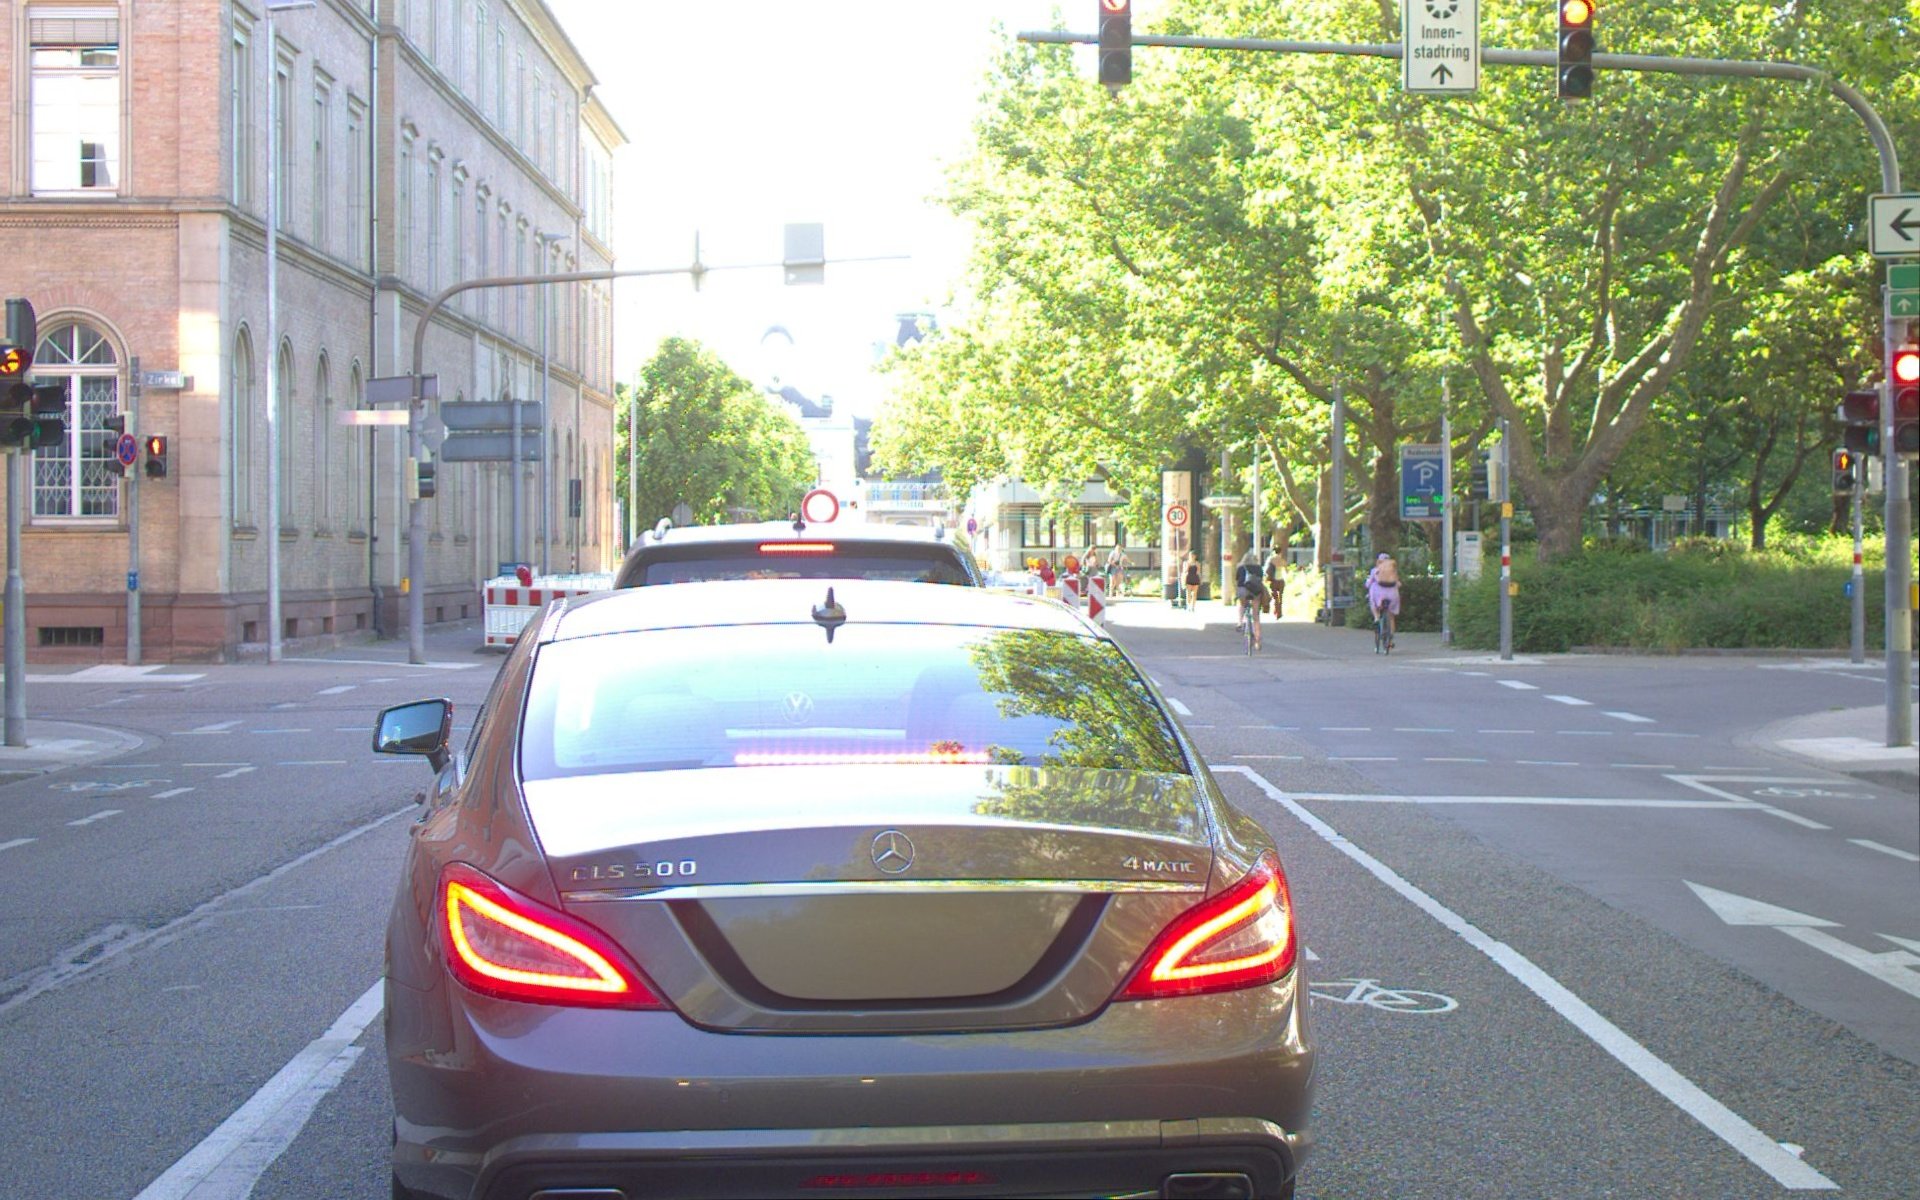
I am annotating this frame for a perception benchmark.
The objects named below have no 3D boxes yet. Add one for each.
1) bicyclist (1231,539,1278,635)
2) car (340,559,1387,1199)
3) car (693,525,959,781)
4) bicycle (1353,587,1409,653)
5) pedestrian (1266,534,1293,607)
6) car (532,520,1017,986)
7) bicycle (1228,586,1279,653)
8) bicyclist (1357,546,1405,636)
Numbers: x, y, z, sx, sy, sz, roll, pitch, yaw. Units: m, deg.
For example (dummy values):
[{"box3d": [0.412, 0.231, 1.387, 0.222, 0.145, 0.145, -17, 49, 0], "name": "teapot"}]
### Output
[{"box3d": [4.691, -0.212, 54.759, 0.610, 1.511, 0.890, 2, 1, -1], "name": "bicyclist"}, {"box3d": [-0.434, 0.646, 8.119, 1.821, 1.471, 4.354, 0, 1, -7], "name": "car"}, {"box3d": [-0.915, 0.312, 23.712, 1.681, 1.619, 3.841, 0, 1, -2], "name": "car"}, {"box3d": [6.691, 0.309, 54.747, 0.600, 0.981, 1.881, 2, 1, -1], "name": "bicycle"}, {"box3d": [7.375, -0.688, 79.391, 0.559, 1.672, 0.565, 0, 1, -1], "name": "pedestrian"}, {"box3d": [-0.709, 0.508, 13.877, 1.681, 1.619, 3.841, 0, 1, -2], "name": "car"}, {"box3d": [4.672, 0.301, 54.711, 0.610, 1.023, 1.731, 2, 1, -1], "name": "bicycle"}, {"box3d": [6.700, -0.147, 54.721, 0.600, 1.397, 0.931, 2, 1, -1], "name": "bicyclist"}]
